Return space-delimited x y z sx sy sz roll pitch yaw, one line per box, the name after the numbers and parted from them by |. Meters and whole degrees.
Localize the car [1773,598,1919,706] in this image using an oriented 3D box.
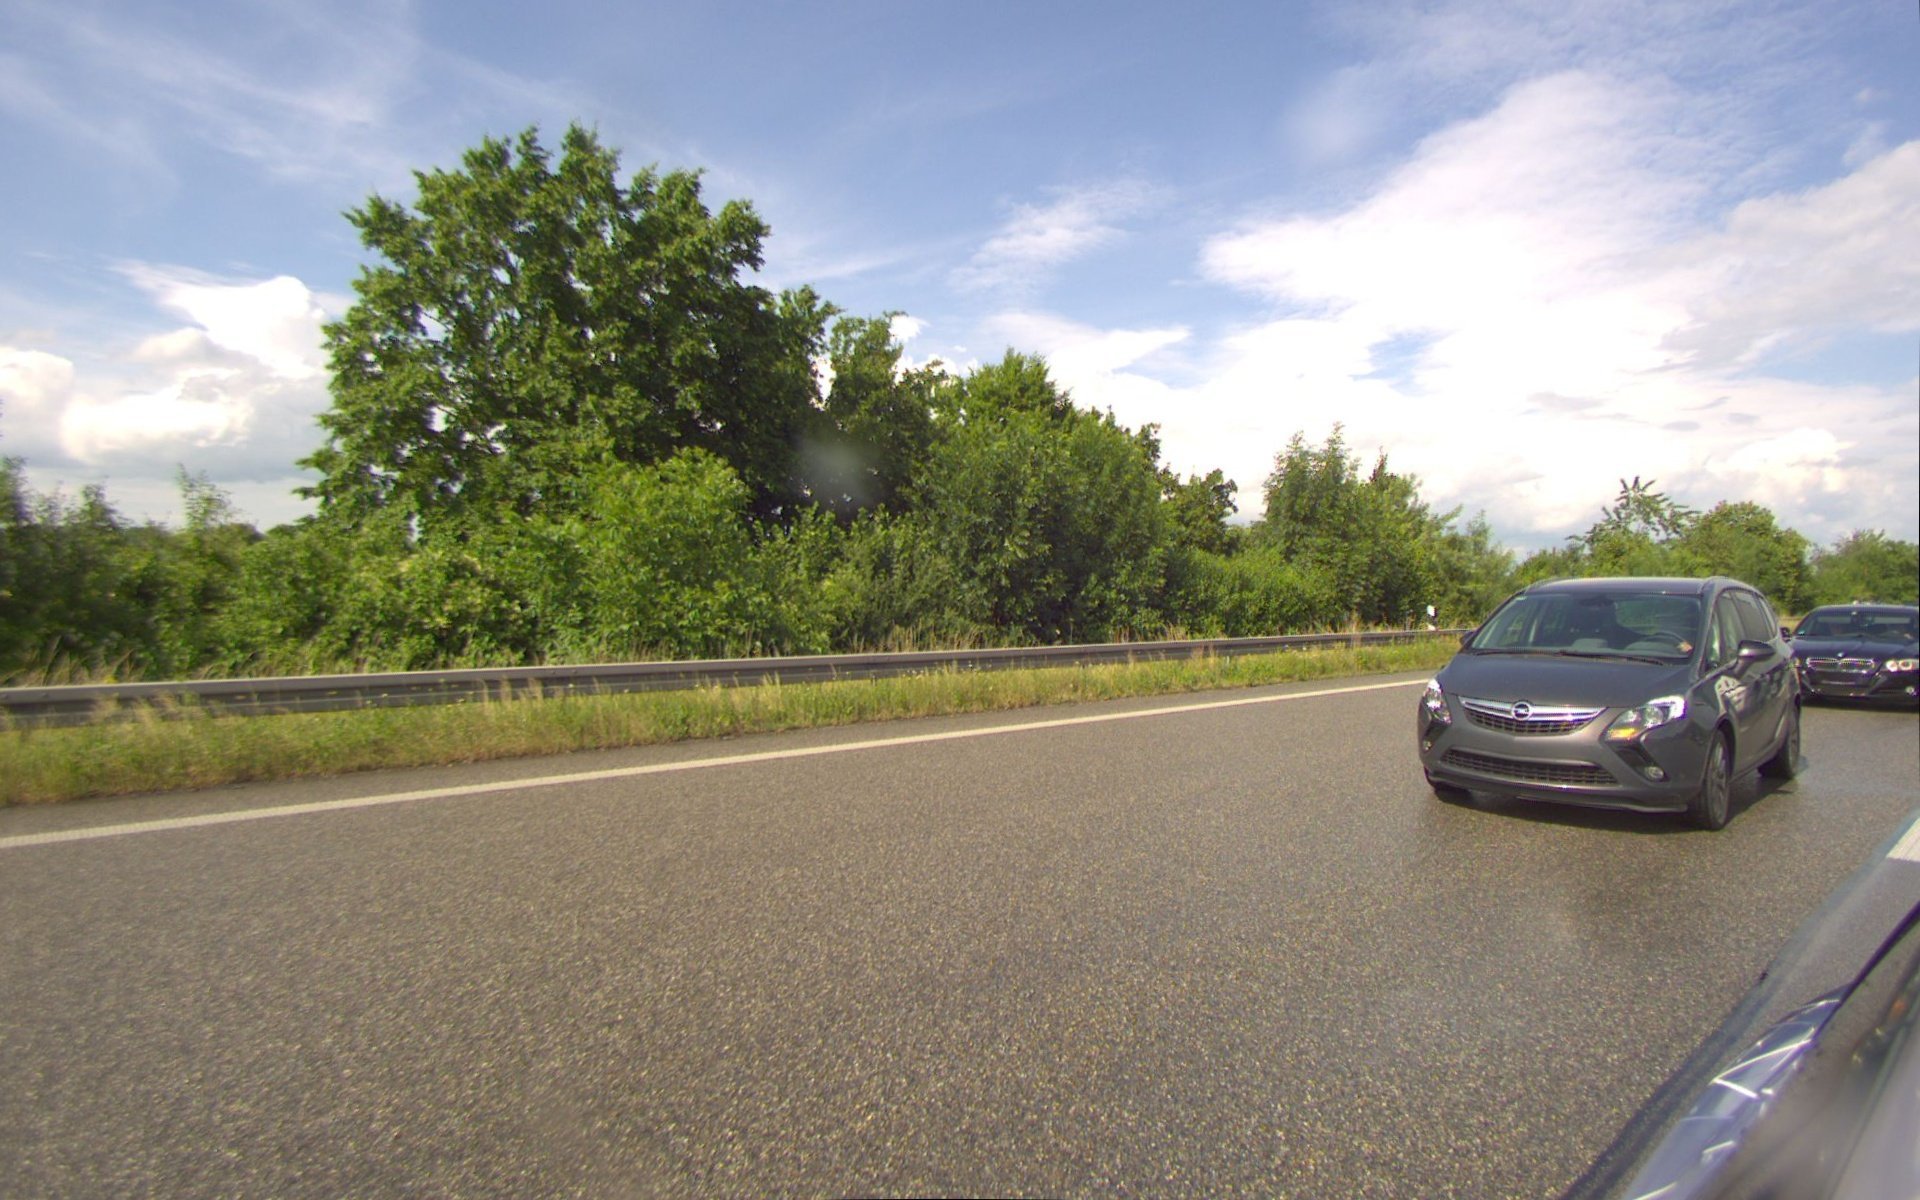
13.309 0.669 14.680 3.816 1.371 1.721 0 0 -41 | car

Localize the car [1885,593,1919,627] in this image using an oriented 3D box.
44.406 0.456 47.144 3.421 1.507 1.614 0 1 -42 | car

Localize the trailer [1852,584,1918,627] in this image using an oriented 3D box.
40.577 0.226 44.350 3.900 1.768 1.808 0 0 -43 | trailer

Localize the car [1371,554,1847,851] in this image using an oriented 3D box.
5.232 0.557 7.864 4.652 1.652 1.857 0 0 -40 | car

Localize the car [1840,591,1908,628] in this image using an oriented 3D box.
37.547 0.364 41.541 4.331 1.449 1.745 0 1 -44 | car
